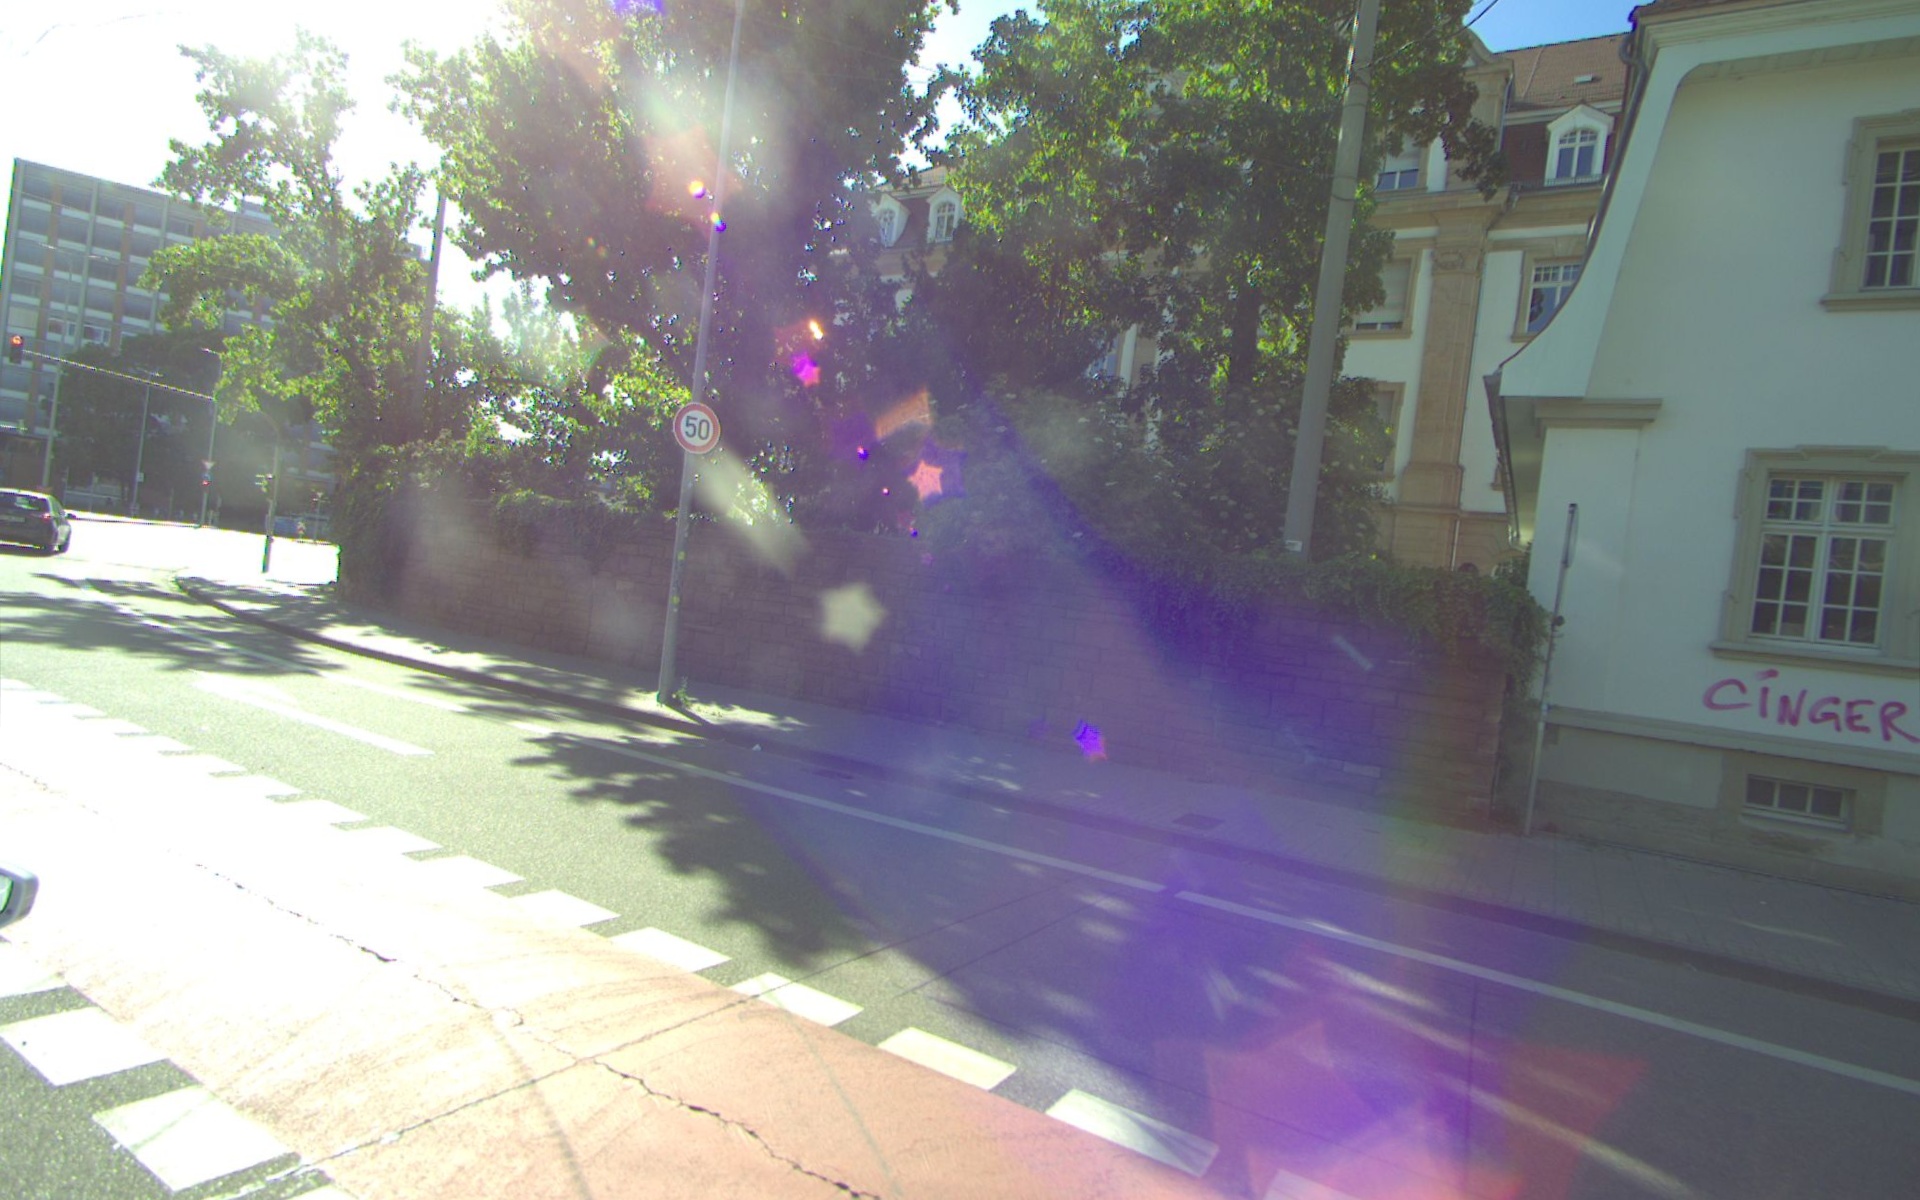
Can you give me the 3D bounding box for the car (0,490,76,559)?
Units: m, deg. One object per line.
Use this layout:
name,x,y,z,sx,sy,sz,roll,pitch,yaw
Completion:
car,-24.549,-2.024,26.231,1.781,1.528,3.676,9,-2,-36
